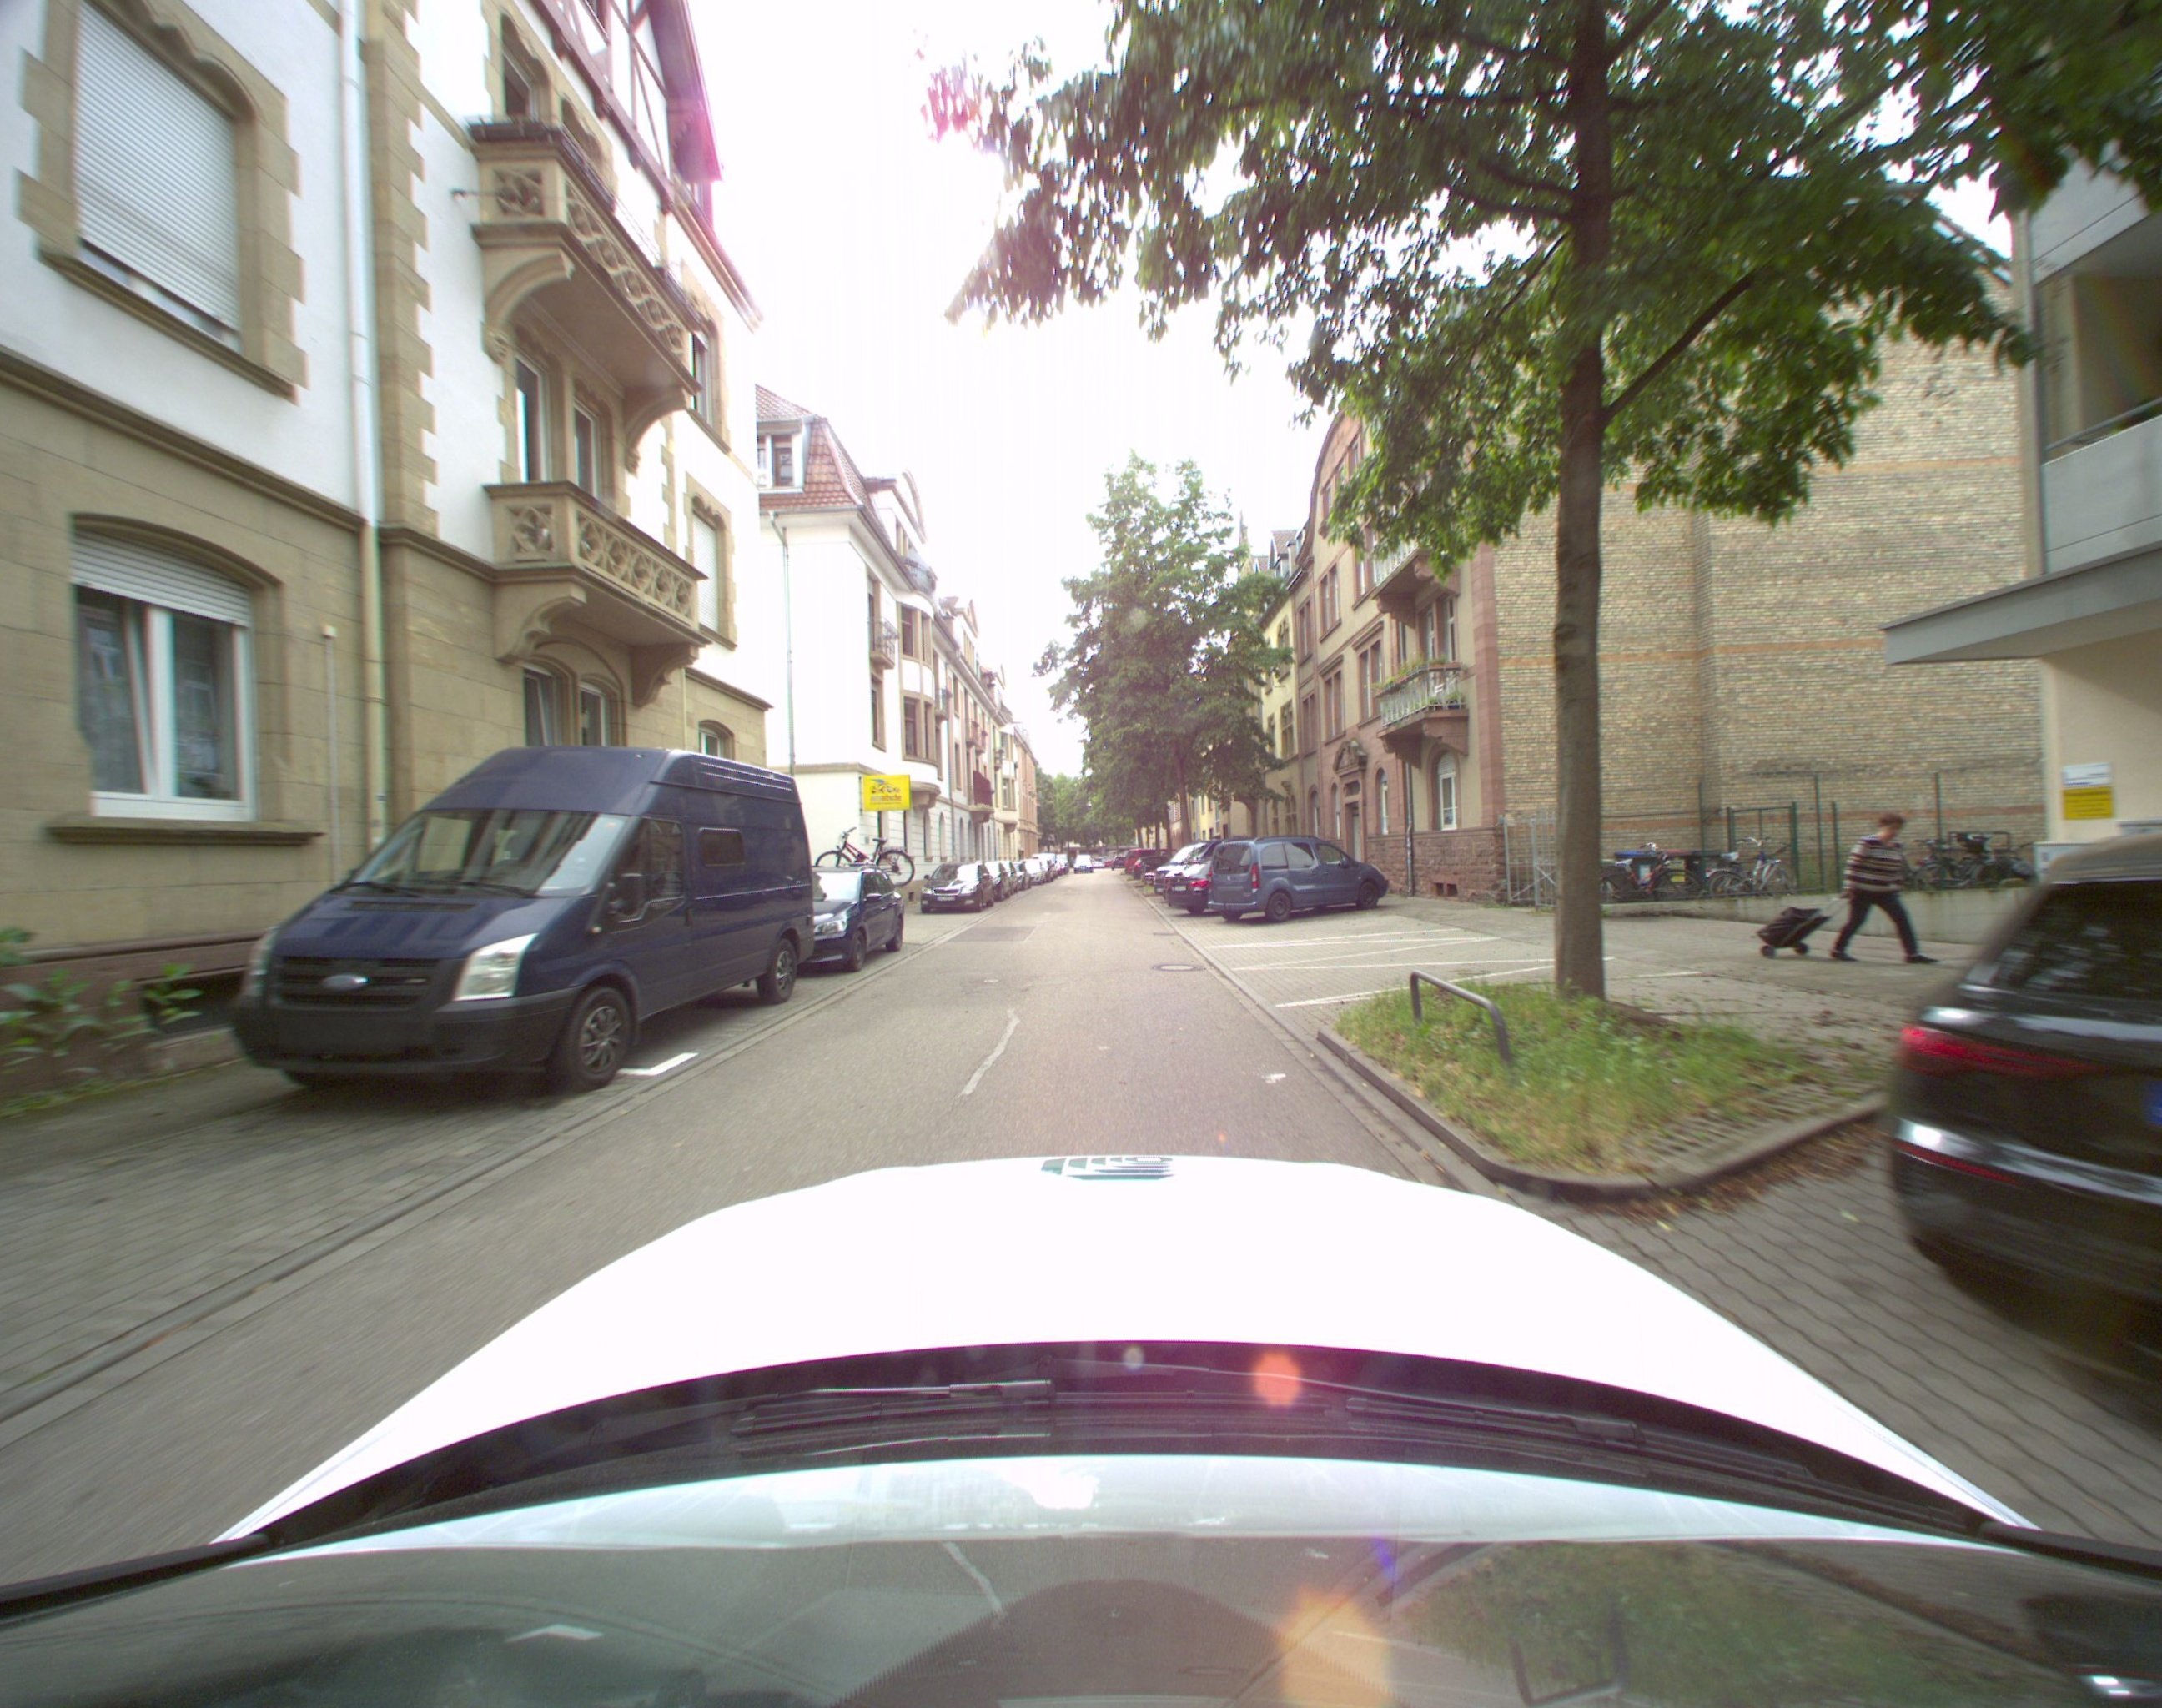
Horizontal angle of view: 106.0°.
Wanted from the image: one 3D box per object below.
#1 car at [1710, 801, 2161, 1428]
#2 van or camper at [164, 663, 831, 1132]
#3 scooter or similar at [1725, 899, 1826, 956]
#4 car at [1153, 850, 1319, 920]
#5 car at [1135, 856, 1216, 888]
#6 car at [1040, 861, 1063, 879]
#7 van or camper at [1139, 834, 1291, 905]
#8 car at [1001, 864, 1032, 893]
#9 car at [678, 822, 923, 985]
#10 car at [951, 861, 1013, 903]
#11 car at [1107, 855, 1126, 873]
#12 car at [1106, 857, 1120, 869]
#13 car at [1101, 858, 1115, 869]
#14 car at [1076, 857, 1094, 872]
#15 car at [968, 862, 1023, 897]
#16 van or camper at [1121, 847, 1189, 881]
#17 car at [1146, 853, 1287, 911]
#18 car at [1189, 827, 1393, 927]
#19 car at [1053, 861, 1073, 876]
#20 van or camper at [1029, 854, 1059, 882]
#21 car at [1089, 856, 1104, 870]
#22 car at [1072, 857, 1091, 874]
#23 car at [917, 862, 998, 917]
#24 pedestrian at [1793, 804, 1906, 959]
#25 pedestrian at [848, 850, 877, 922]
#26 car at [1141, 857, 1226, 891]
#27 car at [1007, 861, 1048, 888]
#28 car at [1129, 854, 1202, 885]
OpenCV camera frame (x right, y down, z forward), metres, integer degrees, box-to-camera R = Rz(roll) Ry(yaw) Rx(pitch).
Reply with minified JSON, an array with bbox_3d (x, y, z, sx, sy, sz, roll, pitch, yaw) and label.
[{"bbox_3d":[4.479,0.523,2.869,4.326,1.392,1.906,-4,0,-28],"label":"car"},{"bbox_3d":[-4.161,0.259,7.333,2.001,2.652,5.317,1,0,1],"label":"van or camper"},{"bbox_3d":[7.631,0.800,8.968,0.529,0.572,0.656,-1,-2,-2],"label":"scooter or similar"},{"bbox_3d":[4.107,0.769,21.477,4.036,1.559,1.866,-2,-1,-30],"label":"car"},{"bbox_3d":[4.742,0.898,41.070,3.754,1.465,1.726,-2,-1,-5],"label":"car"},{"bbox_3d":[-2.755,1.465,76.651,1.779,1.455,3.889,-6,0,1],"label":"car"},{"bbox_3d":[4.563,0.475,27.502,4.805,2.138,2.036,-2,-1,-30],"label":"van or camper"},{"bbox_3d":[-3.148,1.188,40.190,1.205,1.309,3.260,-2,0,1],"label":"car"},{"bbox_3d":[-4.056,0.646,12.830,1.986,2.013,4.892,-2,0,1],"label":"car"},{"bbox_3d":[-3.630,1.003,30.472,1.823,1.426,3.801,1,0,1],"label":"car"},{"bbox_3d":[3.955,1.090,91.949,1.987,2.014,4.000,1,0,1],"label":"car"},{"bbox_3d":[4.475,1.272,114.710,1.864,1.530,3.840,-2,0,1],"label":"car"},{"bbox_3d":[3.965,1.319,119.102,1.864,1.530,4.000,-2,0,1],"label":"car"},{"bbox_3d":[0.462,1.206,94.070,1.900,1.678,4.003,-2,0,3],"label":"car"},{"bbox_3d":[-3.668,1.078,35.577,1.941,1.403,4.000,1,0,1],"label":"car"},{"bbox_3d":[5.029,0.661,55.126,4.169,2.086,1.935,-2,-1,-27],"label":"van or camper"},{"bbox_3d":[4.080,0.799,24.495,3.883,1.499,1.786,-2,-1,-28],"label":"car"},{"bbox_3d":[4.827,0.486,18.643,4.197,1.869,1.981,-4,-1,-29],"label":"car"},{"bbox_3d":[-1.830,1.408,81.815,1.779,1.374,3.889,-2,0,1],"label":"car"},{"bbox_3d":[-2.839,1.073,63.562,1.875,1.967,4.408,-3,0,1],"label":"van or camper"},{"bbox_3d":[2.113,1.298,112.512,1.987,1.794,3.999,-1,-1,0],"label":"car"},{"bbox_3d":[0.102,1.153,82.631,1.815,1.645,3.754,-2,0,1],"label":"car"},{"bbox_3d":[-3.663,1.023,24.891,1.783,1.480,4.022,-1,-1,1],"label":"car"},{"bbox_3d":[7.951,0.274,8.447,0.574,1.540,0.580,-1,-1,0],"label":"pedestrian"},{"bbox_3d":[-5.386,0.780,20.097,0.543,1.740,0.655,0,-1,-1],"label":"pedestrian"},{"bbox_3d":[4.760,0.919,38.179,3.703,1.408,1.573,-2,-1,-5],"label":"car"},{"bbox_3d":[-3.097,1.167,47.565,1.986,1.475,4.001,-2,0,1],"label":"car"},{"bbox_3d":[4.656,0.851,45.383,3.754,1.465,1.726,-3,-1,-5],"label":"car"}]
